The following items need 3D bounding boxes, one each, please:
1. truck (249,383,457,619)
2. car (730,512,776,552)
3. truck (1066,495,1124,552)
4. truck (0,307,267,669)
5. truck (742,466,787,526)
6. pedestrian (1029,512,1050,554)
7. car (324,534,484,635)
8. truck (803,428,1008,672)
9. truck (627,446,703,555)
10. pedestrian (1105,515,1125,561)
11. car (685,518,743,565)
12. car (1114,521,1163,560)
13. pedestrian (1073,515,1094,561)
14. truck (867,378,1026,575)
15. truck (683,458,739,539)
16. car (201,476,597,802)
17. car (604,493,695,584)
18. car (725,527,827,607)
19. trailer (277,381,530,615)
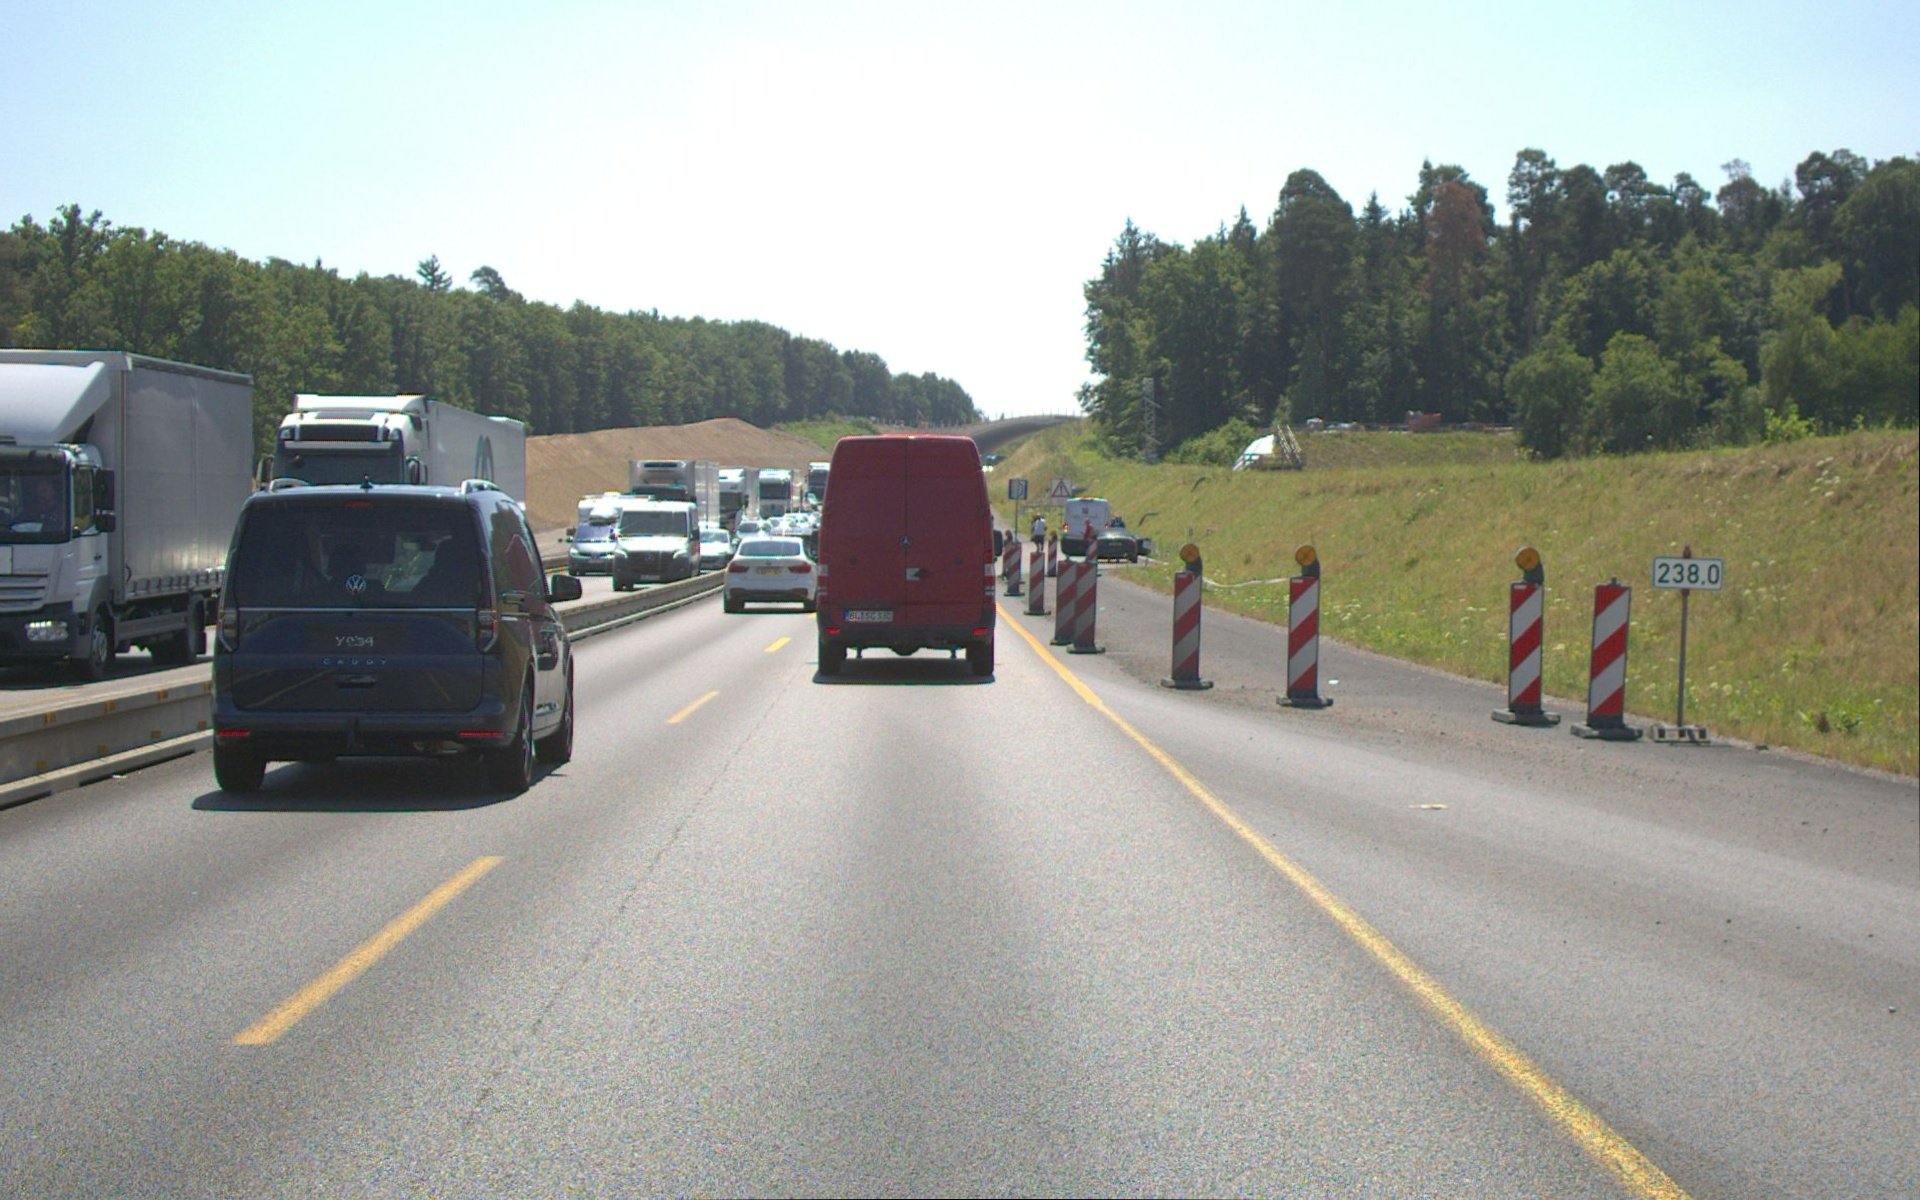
[{"bbox_3d":[-10.792,-1.728,61.495,2.848,4.004,4.859,-1,1,-1],"label":"truck"},{"bbox_3d":[-8.620,-2.824,143.423,1.688,1.608,4.594,1,1,-1],"label":"car"},{"bbox_3d":[6.100,-3.459,154.529,2.130,2.448,5.924,1,2,6],"label":"truck"},{"bbox_3d":[-10.322,-1.220,40.072,2.644,3.703,9.483,1,1,-1],"label":"truck"},{"bbox_3d":[-13.496,-7.170,237.048,2.768,4.030,4.943,1,1,0],"label":"truck"},{"bbox_3d":[3.479,-2.942,150.983,0.723,1.822,0.720,1,1,-16],"label":"pedestrian"},{"bbox_3d":[-8.311,-0.256,51.709,1.857,1.437,4.502,1,1,-3],"label":"car"},{"bbox_3d":[-0.657,-0.569,39.326,2.153,2.581,5.334,1,1,-2],"label":"truck"},{"bbox_3d":[-11.728,-3.939,136.870,2.491,4.184,5.912,-1,1,-1],"label":"truck"},{"bbox_3d":[6.287,-2.515,139.614,0.624,1.822,0.643,1,2,-12],"label":"pedestrian"},{"bbox_3d":[-8.077,-1.909,113.225,1.688,1.496,3.977,1,1,-1],"label":"car"},{"bbox_3d":[7.081,-2.368,136.492,1.654,1.422,4.545,-2,2,0],"label":"car"},{"bbox_3d":[4.889,-2.461,135.939,0.640,1.822,0.559,0,2,-21],"label":"pedestrian"},{"bbox_3d":[-0.458,-3.564,104.604,4.400,5.477,16.604,1,1,-1],"label":"truck"},{"bbox_3d":[-12.763,-5.197,176.554,2.591,4.039,5.150,1,2,-2],"label":"truck"},{"bbox_3d":[-3.413,0.151,21.740,1.751,1.818,4.783,1,2,-1],"label":"car"},{"bbox_3d":[-8.067,-1.633,89.811,1.993,2.284,5.344,1,2,-1],"label":"car"},{"bbox_3d":[-3.639,-0.663,68.431,1.831,1.517,3.961,1,1,-1],"label":"car"},{"bbox_3d":[-10.679,-1.888,67.559,2.854,4.079,13.653,-1,1,-1],"label":"trailer"}]
